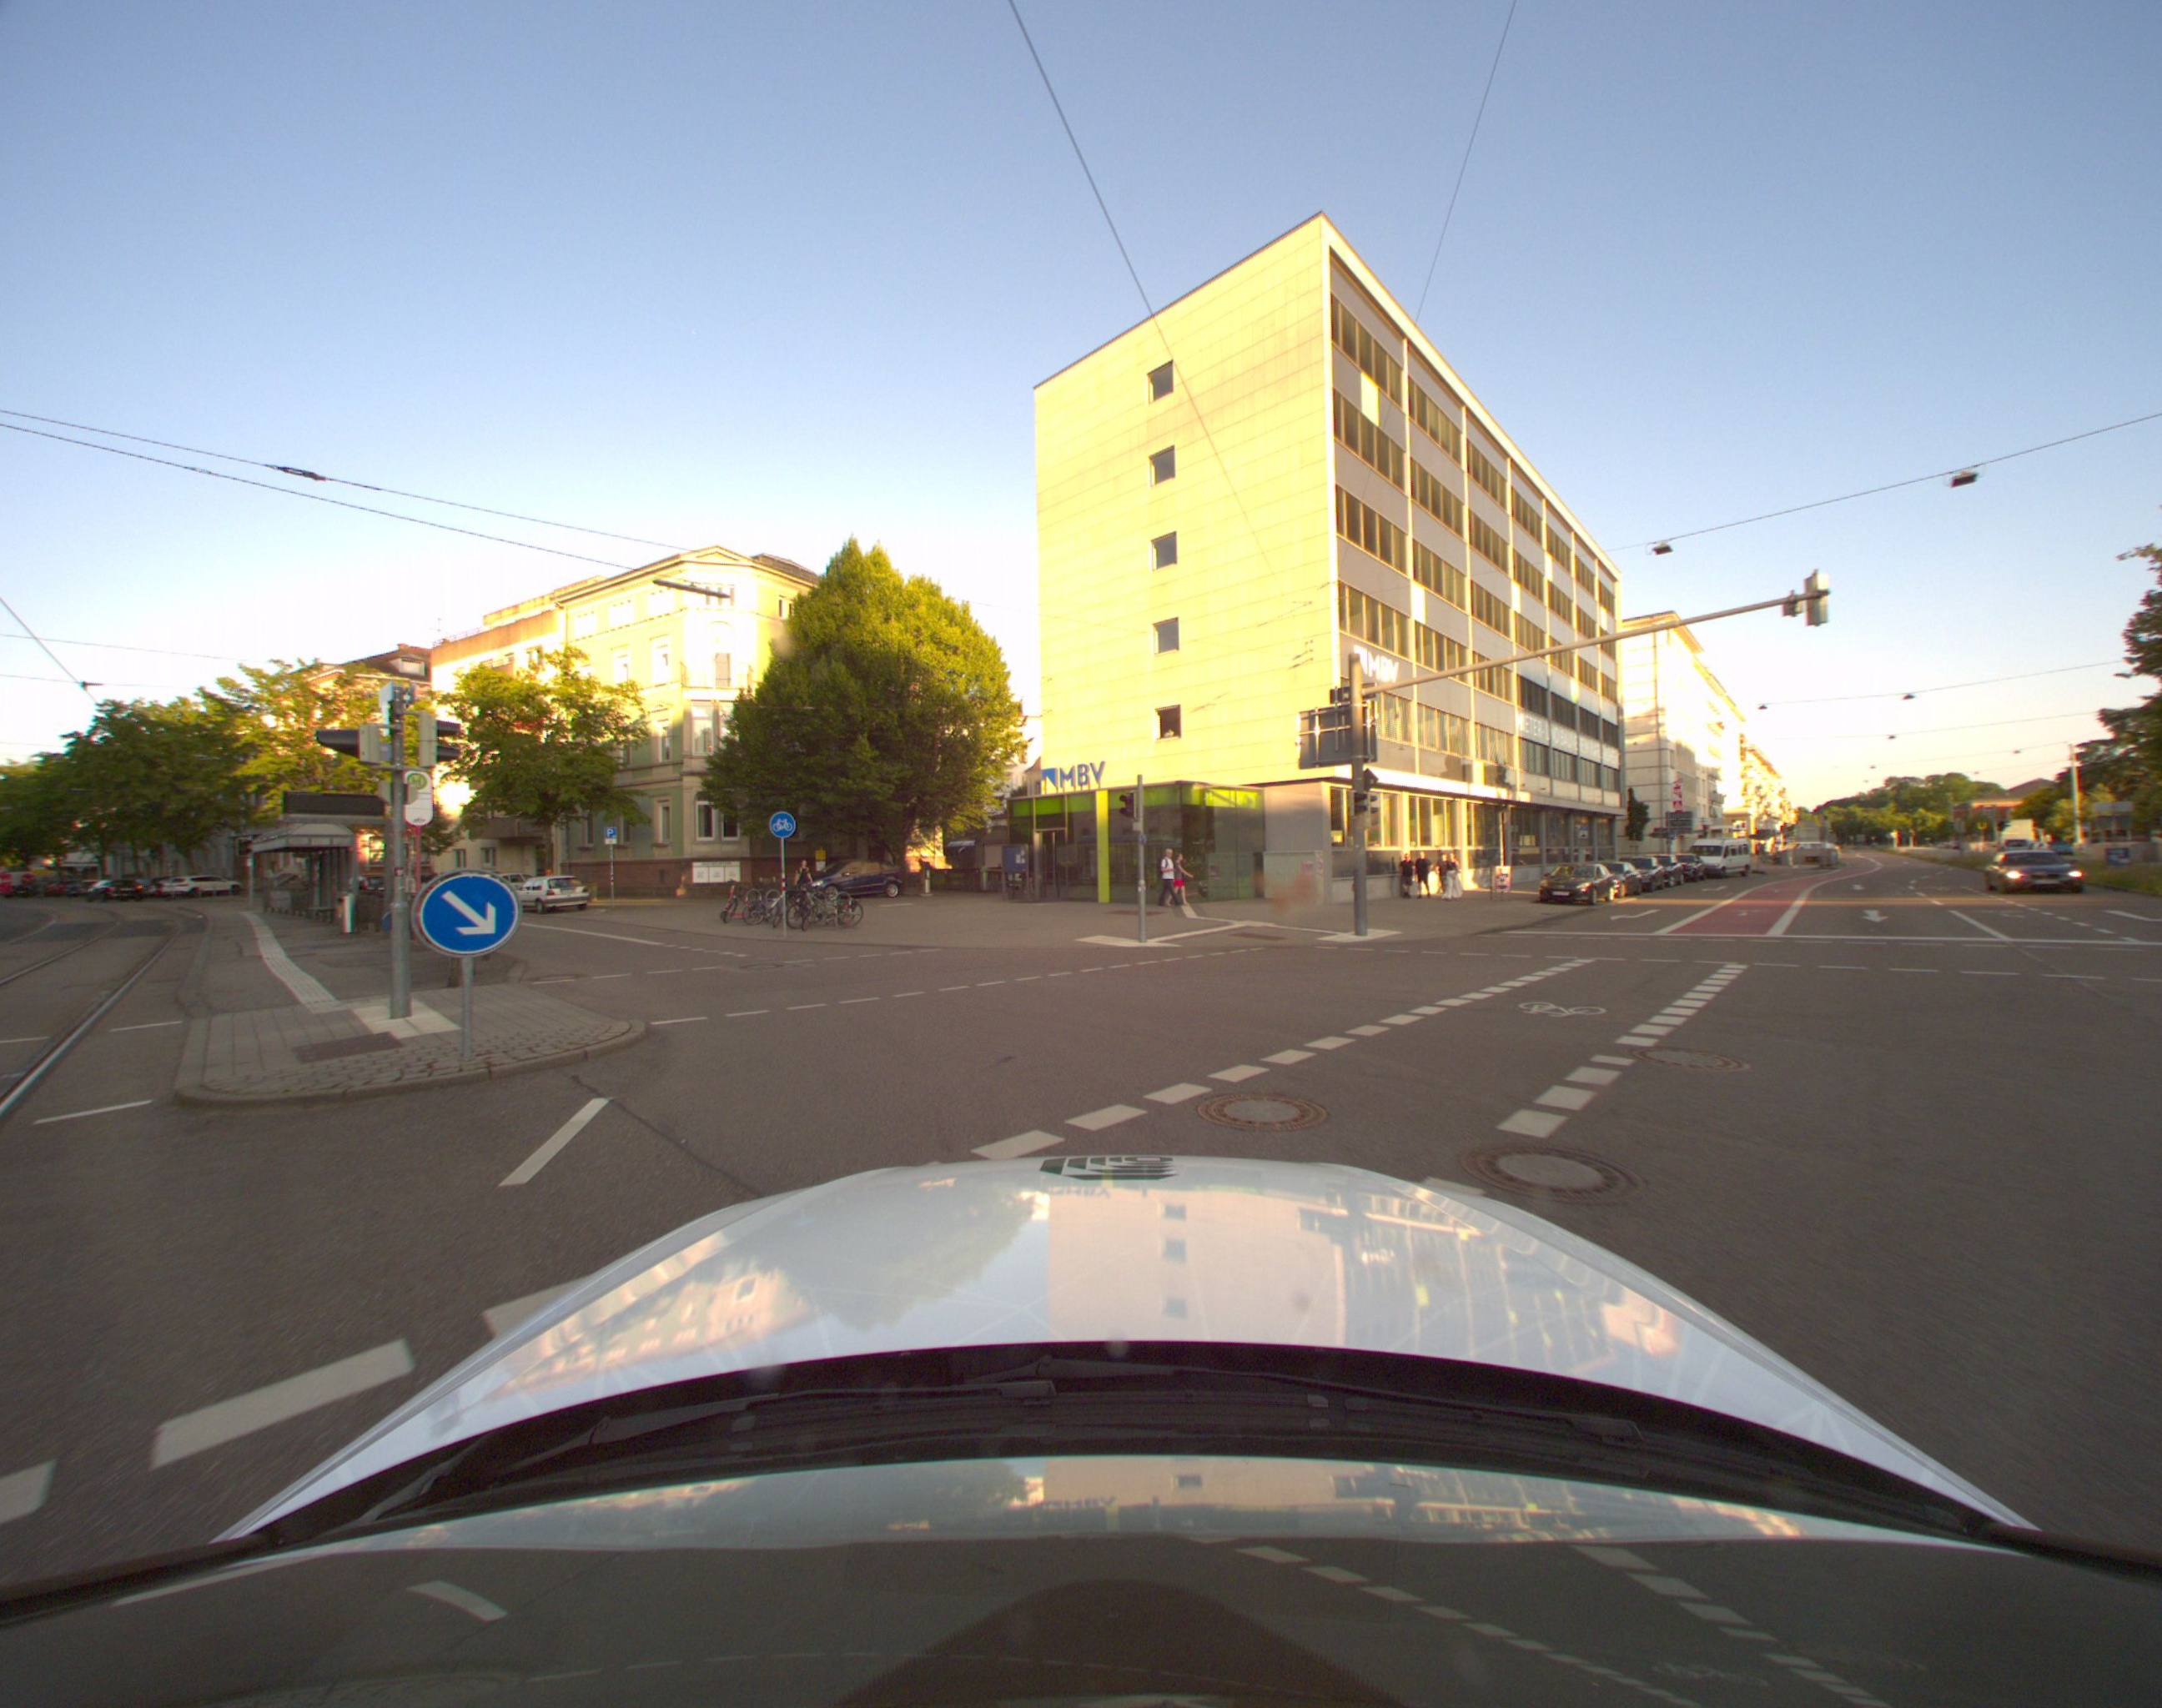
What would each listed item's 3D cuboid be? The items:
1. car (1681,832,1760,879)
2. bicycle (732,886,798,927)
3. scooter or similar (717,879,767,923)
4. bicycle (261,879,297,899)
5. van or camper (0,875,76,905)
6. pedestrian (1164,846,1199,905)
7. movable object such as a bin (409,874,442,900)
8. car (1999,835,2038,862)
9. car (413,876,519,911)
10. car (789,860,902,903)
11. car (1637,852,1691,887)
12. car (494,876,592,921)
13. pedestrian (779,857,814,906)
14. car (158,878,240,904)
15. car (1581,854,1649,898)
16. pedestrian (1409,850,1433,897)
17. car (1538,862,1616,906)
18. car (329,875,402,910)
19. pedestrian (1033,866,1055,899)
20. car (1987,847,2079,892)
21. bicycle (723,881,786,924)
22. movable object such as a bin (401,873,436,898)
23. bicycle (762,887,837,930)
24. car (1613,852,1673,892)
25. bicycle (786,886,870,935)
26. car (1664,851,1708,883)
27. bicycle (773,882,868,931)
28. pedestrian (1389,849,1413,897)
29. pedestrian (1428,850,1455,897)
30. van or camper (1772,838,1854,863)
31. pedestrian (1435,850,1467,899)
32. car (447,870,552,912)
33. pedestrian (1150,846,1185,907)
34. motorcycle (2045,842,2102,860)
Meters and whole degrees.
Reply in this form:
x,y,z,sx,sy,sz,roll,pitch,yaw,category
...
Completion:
x,y,z,sx,sy,sz,roll,pitch,yaw,category
39.573,0.067,50.343,5.878,2.628,2.221,0,4,-36,car
-8.880,1.457,22.926,1.565,1.075,0.735,0,-1,-45,bicycle
-10.236,1.416,24.618,0.583,1.225,1.211,-2,1,44,scooter or similar
-53.876,2.331,54.697,0.598,1.266,1.916,-1,0,-4,bicycle
-106.410,3.606,82.613,2.076,2.530,5.543,-3,2,-4,van or camper
3.049,0.649,24.684,0.737,1.768,0.713,-2,-1,44,pedestrian
-39.186,1.944,48.671,1.302,1.502,1.082,-1,-1,28,movable object such as a bin
81.126,-0.488,70.491,1.866,2.238,3.933,-2,-1,45,car
-28.522,1.795,37.969,1.634,1.454,4.211,-1,-1,2,car
-9.423,1.035,32.782,1.781,1.574,4.021,0,0,43,car
29.991,0.751,41.858,1.677,1.664,3.891,3,2,43,car
-21.281,1.731,32.175,3.948,1.552,1.696,-1,2,32,car
-10.492,0.993,30.015,0.977,1.768,0.713,-1,-1,28,pedestrian
-64.643,2.677,59.784,1.663,1.627,3.955,-1,1,0,car
22.375,0.869,34.064,1.677,1.664,3.891,3,2,43,car
13.017,0.726,31.149,0.647,1.768,0.650,-2,-1,40,pedestrian
18.274,1.052,29.932,1.677,1.411,3.891,2,1,43,car
-36.839,1.957,41.911,4.035,1.632,1.760,-2,1,33,car
-1.418,1.088,31.262,0.608,1.209,0.546,-2,-1,44,pedestrian
32.598,0.503,27.991,1.677,1.421,4.198,-2,-1,45,car
-9.488,1.381,23.693,1.540,1.163,0.735,0,-1,-45,bicycle
-40.821,1.928,50.169,1.578,1.502,1.151,-1,-1,30,movable object such as a bin
-7.582,1.448,21.986,1.771,1.075,0.735,0,-1,-45,bicycle
26.245,0.806,38.003,1.677,1.664,3.891,4,3,43,car
-6.322,1.396,20.391,1.871,1.074,0.737,-1,0,-29,bicycle
34.442,0.716,46.324,1.485,1.664,3.891,3,2,43,car
-6.804,1.348,21.363,2.251,1.132,0.735,-2,0,-45,bicycle
12.133,0.716,30.845,0.647,1.768,0.650,-2,-1,40,pedestrian
13.583,0.726,30.653,0.732,1.768,0.677,-2,-1,40,pedestrian
71.337,-0.282,79.512,5.469,2.167,2.253,-2,-2,13,van or camper
13.517,0.744,29.753,0.832,1.768,0.790,-2,-1,40,pedestrian
-26.220,1.626,36.907,1.711,1.725,4.208,0,-1,-1,car
2.562,0.648,24.144,0.726,1.768,0.713,-2,-1,44,pedestrian
97.655,-0.293,80.155,0.931,1.755,3.455,0,-1,-43,motorcycle
